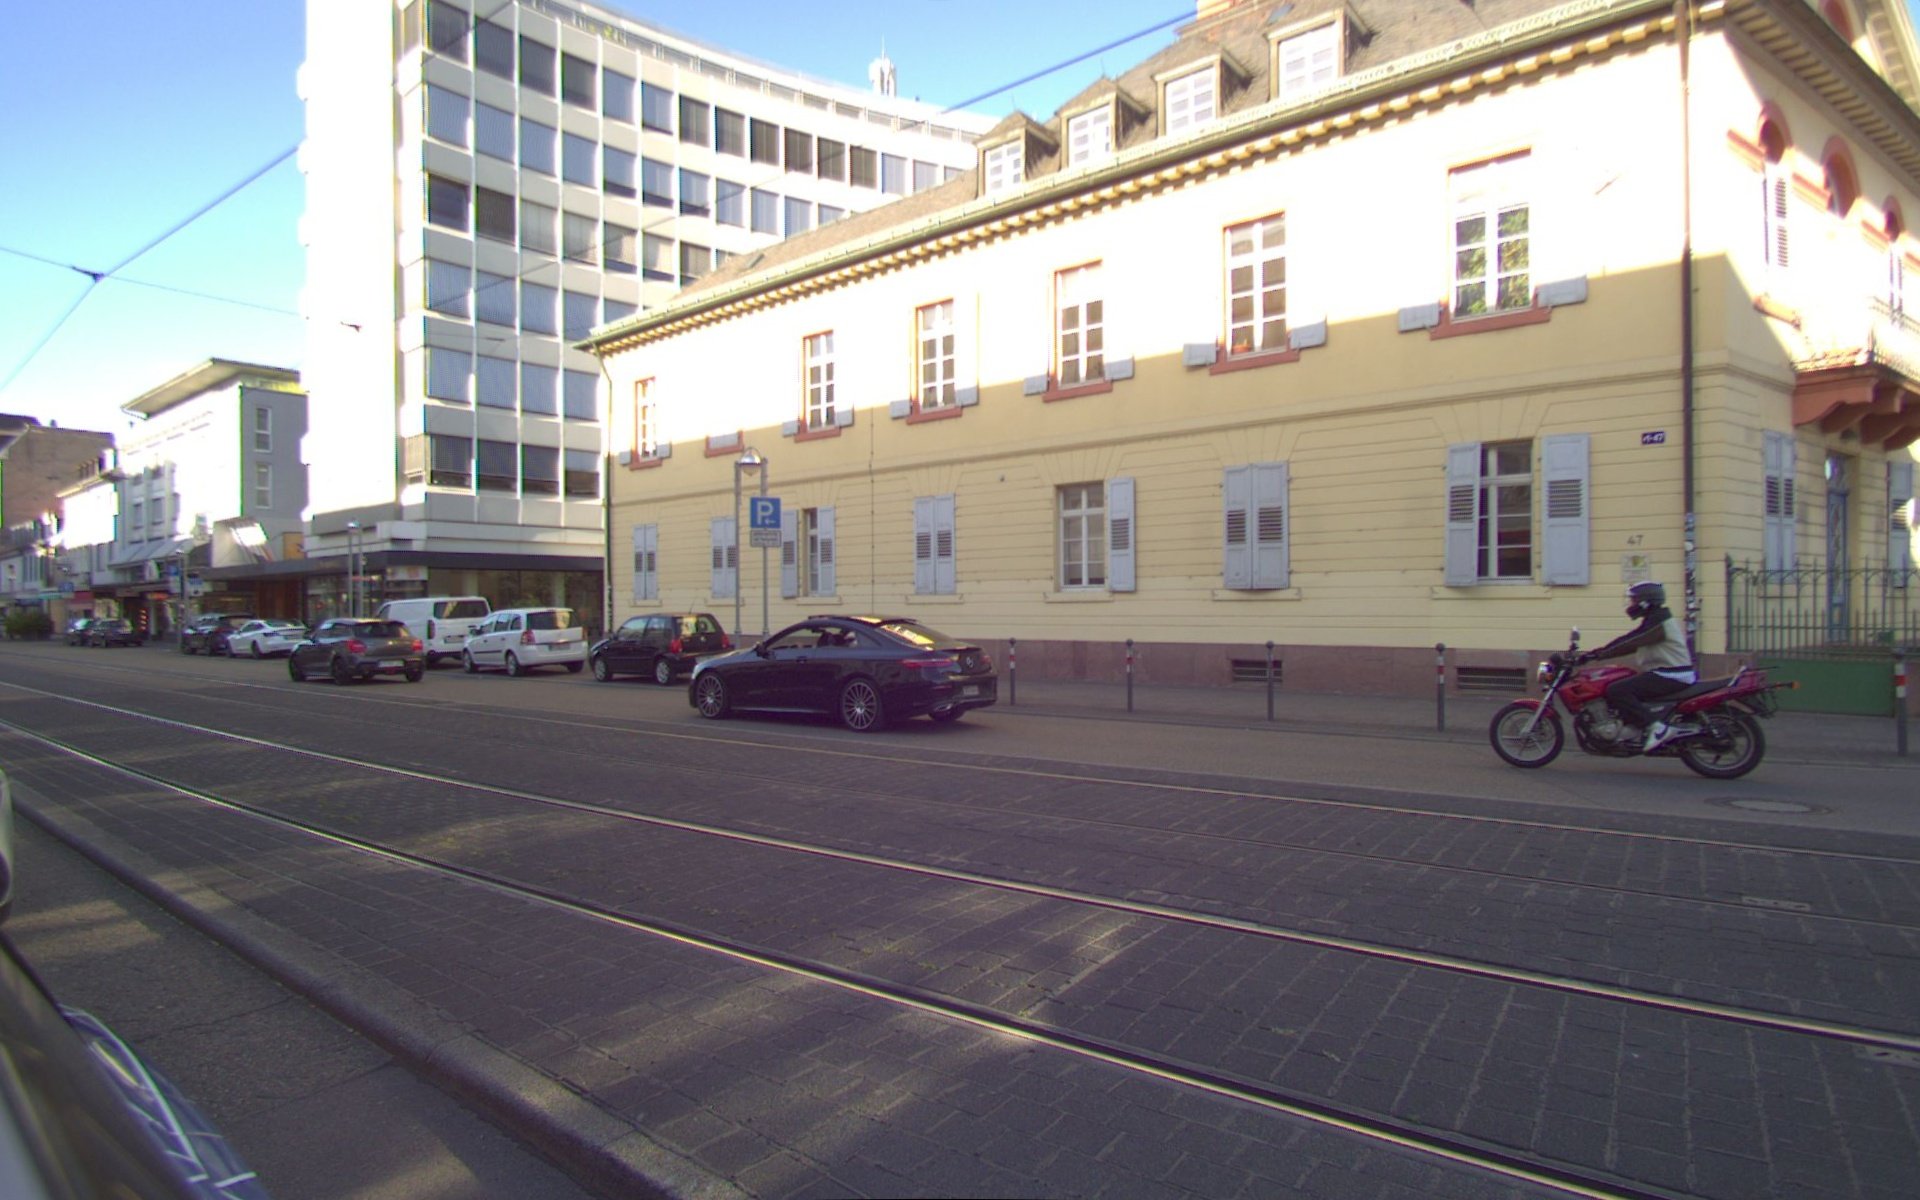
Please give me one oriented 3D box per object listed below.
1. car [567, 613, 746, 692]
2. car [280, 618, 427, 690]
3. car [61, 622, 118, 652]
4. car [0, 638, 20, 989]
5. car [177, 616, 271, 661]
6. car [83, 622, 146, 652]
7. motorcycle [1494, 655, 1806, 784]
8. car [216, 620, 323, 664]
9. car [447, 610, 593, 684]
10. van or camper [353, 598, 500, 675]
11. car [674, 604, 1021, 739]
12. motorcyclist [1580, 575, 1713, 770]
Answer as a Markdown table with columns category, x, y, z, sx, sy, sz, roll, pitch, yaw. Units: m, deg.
| category | x | y | z | sx | sy | sz | roll | pitch | yaw |
| --- | --- | --- | --- | --- | --- | --- | --- | --- | --- |
| car | -6.523 | 1.044 | 21.582 | 3.958 | 1.450 | 1.759 | -1 | 1 | 40 |
| car | -14.034 | 1.188 | 23.334 | 3.857 | 1.521 | 1.758 | -2 | -2 | 40 |
| car | -47.933 | 2.005 | 55.731 | 3.830 | 1.531 | 1.764 | -1 | 0 | 40 |
| car | -6.375 | 0.896 | 5.080 | 4.771 | 1.450 | 1.845 | -1 | -2 | 40 |
| car | -29.804 | 1.516 | 40.934 | 4.275 | 1.654 | 1.908 | -1 | 1 | 37 |
| car | -43.656 | 1.883 | 52.245 | 3.593 | 1.427 | 1.764 | -1 | 0 | 38 |
| motorcycle | 5.828 | 0.976 | 8.711 | 2.148 | 0.933 | 0.595 | -1 | 0 | 31 |
| car | -25.636 | 1.522 | 37.520 | 4.285 | 1.463 | 1.909 | -1 | 1 | 36 |
| car | -11.091 | 1.110 | 25.379 | 4.175 | 1.632 | 1.758 | -1 | 1 | 42 |
| van or camper | -15.318 | 0.987 | 28.965 | 4.792 | 1.988 | 1.936 | -1 | 1 | 39 |
| car | -1.612 | 0.867 | 13.551 | 4.660 | 1.521 | 1.761 | -1 | -2 | 36 |
| motorcyclist | 5.858 | 0.588 | 8.681 | 0.881 | 1.570 | 0.647 | -1 | 0 | 31 |
